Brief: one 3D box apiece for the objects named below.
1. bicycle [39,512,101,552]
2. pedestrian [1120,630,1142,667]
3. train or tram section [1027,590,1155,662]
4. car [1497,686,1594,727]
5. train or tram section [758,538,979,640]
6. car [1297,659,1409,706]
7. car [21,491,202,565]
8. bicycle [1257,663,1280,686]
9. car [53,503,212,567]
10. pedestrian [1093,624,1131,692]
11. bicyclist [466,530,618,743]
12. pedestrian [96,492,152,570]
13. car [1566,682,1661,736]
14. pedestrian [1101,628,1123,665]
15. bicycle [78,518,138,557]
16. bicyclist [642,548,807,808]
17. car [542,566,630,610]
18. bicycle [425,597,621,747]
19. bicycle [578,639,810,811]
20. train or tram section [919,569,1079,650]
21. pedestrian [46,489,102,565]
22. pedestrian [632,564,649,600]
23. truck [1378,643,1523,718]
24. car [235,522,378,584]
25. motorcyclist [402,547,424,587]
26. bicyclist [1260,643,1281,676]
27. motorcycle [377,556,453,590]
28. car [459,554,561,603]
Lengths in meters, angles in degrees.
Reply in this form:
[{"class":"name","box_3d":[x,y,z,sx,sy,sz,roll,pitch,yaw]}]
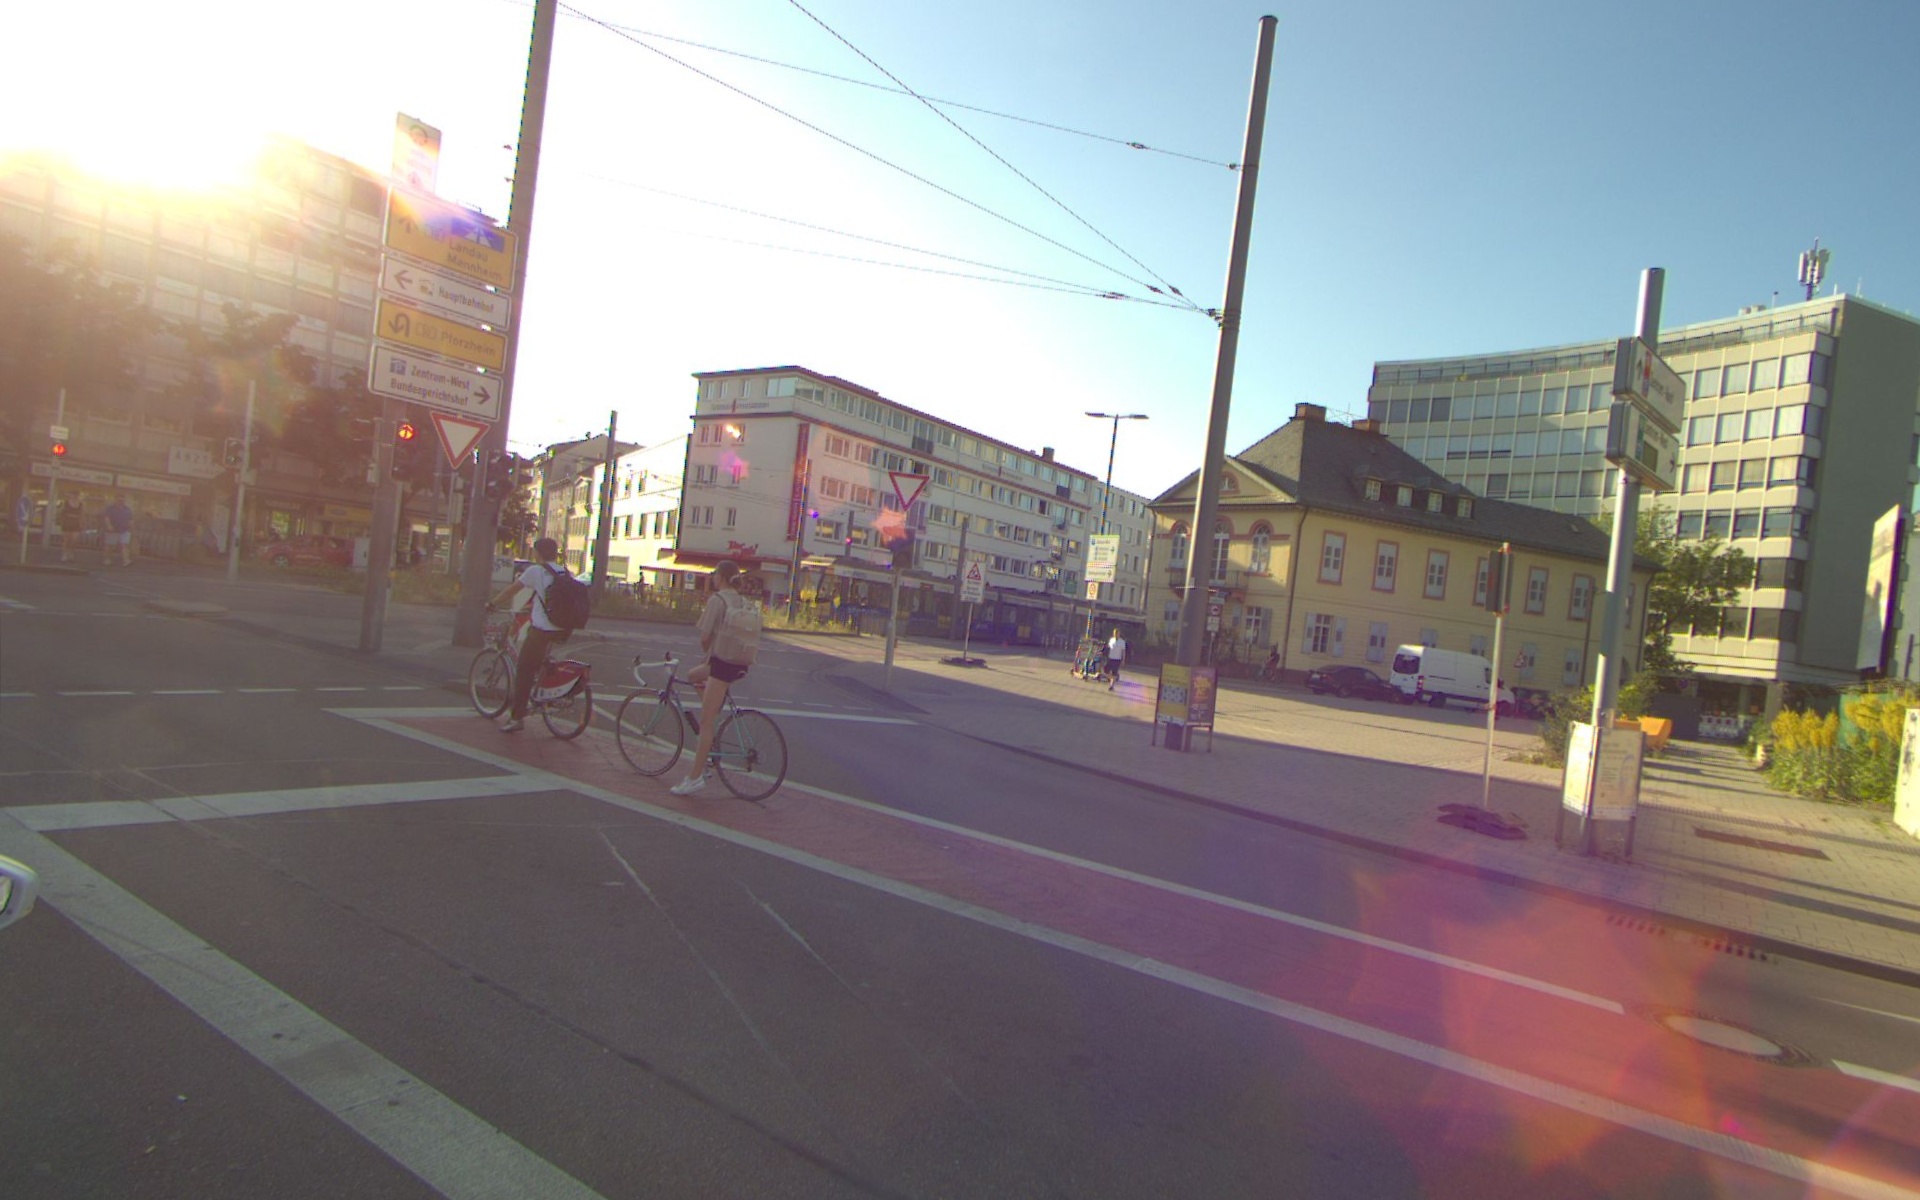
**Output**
[{"class":"bicycle","box_3d":[-34.495,-2.626,38.981,2.594,1.157,0.751,9,0,26]},{"class":"pedestrian","box_3d":[8.172,2.321,48.065,0.802,1.661,0.687,7,-1,13]},{"class":"train or tram section","box_3d":[9.930,2.060,74.211,3.657,3.877,12.954,6,-2,34]},{"class":"car","box_3d":[27.095,4.926,46.590,3.706,1.380,1.709,8,-2,-17]},{"class":"train or tram section","box_3d":[-4.303,-0.339,52.590,3.656,3.880,13.326,6,-1,34]},{"class":"car","box_3d":[16.623,3.484,42.593,4.133,1.380,1.709,8,-2,-17]},{"class":"car","box_3d":[-26.902,-2.256,32.010,1.816,1.636,3.990,6,-2,36]},{"class":"bicycle","box_3d":[14.832,3.588,48.405,0.711,0.959,1.991,7,-2,25]},{"class":"car","box_3d":[-30.308,-2.342,36.944,1.816,1.636,4.071,6,-2,36]},{"class":"pedestrian","box_3d":[4.301,1.643,28.360,0.746,1.783,1.009,7,-1,16]},{"class":"bicyclist","box_3d":[-3.812,0.323,9.174,1.042,1.789,0.543,7,-1,27]},{"class":"pedestrian","box_3d":[-20.800,-1.719,25.030,1.026,1.814,0.695,6,-1,38]},{"class":"car","box_3d":[31.153,5.204,47.978,3.706,2.003,1.709,8,-2,-17]},{"class":"pedestrian","box_3d":[7.264,2.209,48.045,0.802,1.661,0.687,7,-1,14]},{"class":"bicycle","box_3d":[-33.917,-2.499,40.026,2.594,1.157,0.751,9,0,26]},{"class":"bicyclist","box_3d":[-1.744,0.563,7.483,0.778,1.766,0.615,7,-1,27]},{"class":"car","box_3d":[-18.552,-0.545,50.084,1.810,1.636,4.003,7,-2,20]},{"class":"bicycle","box_3d":[-4.035,0.638,9.249,1.777,1.113,0.543,6,-1,27]},{"class":"bicycle","box_3d":[-2.036,0.913,7.644,1.664,1.013,0.543,6,-1,27]},{"class":"train or tram section","box_3d":[2.821,0.779,63.495,3.656,3.879,12.949,6,-1,33]},{"class":"pedestrian","box_3d":[-21.544,-1.772,24.466,1.027,1.702,0.695,6,-1,39]},{"class":"pedestrian","box_3d":[-18.874,-1.049,59.421,0.621,2.037,0.710,8,-1,-30]},{"class":"truck","box_3d":[21.834,3.576,44.807,5.556,2.578,2.294,8,-2,-17]},{"class":"car","box_3d":[-24.468,-1.734,37.769,1.816,1.636,3.990,6,-2,36]},{"class":"motorcyclist","box_3d":[-22.294,-1.353,41.012,0.527,1.526,0.460,6,-1,37]},{"class":"bicyclist","box_3d":[14.966,2.860,48.509,0.711,1.474,0.898,7,-1,24]},{"class":"motorcycle","box_3d":[-22.246,-1.083,41.116,0.527,1.013,2.664,6,-2,36]},{"class":"car","box_3d":[-20.029,-0.913,44.986,1.809,1.636,4.004,7,-2,18]}]
